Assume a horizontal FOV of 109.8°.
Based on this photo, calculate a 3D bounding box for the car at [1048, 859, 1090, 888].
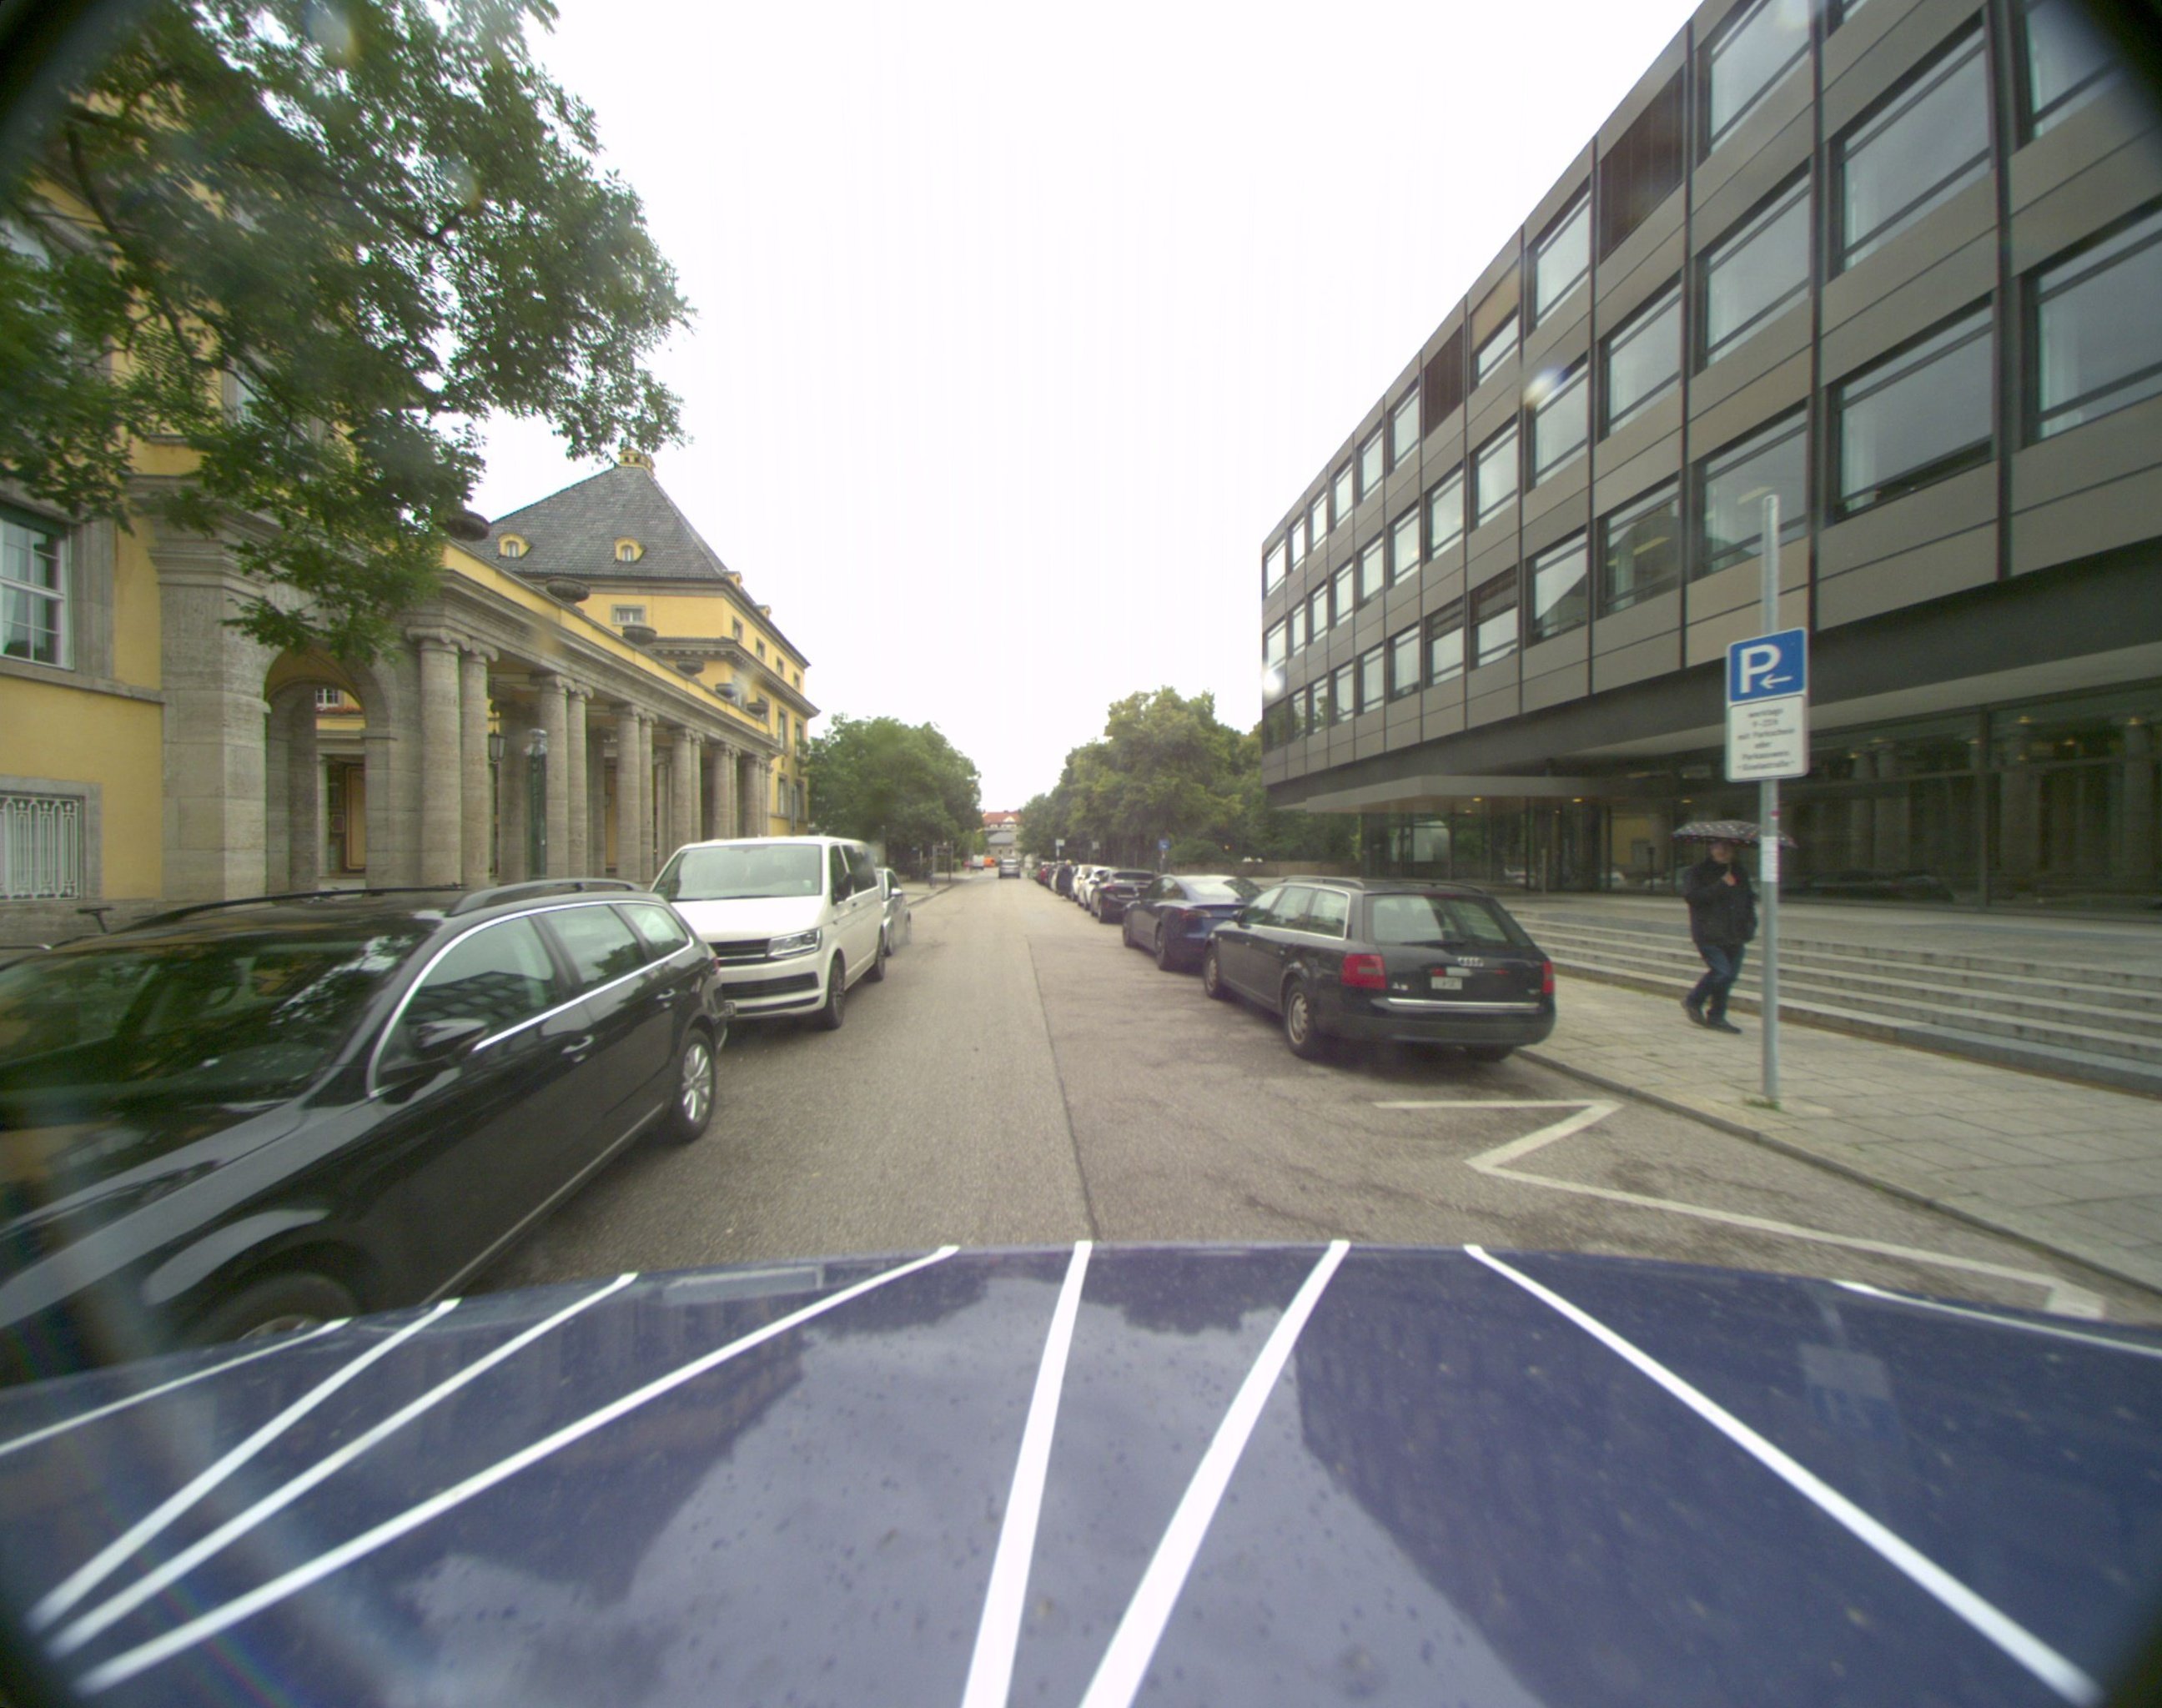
[{"bbox_3d":[-0.740,1.048,42.614,2.000,1.573,4.519,0,0,-6],"label":"car"}]

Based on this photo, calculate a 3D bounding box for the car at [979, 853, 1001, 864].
[{"bbox_3d":[-23.548,1.133,196.205,4.974,2.521,2.578,-2,1,38],"label":"car"}]

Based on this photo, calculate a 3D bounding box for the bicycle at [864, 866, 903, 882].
[{"bbox_3d":[-12.781,1.295,49.185,2.371,1.000,0.677,2,0,-14],"label":"bicycle"}]

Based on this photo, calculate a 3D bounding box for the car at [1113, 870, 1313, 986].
[{"bbox_3d":[1.923,1.077,12.806,1.929,1.431,4.914,1,0,-7],"label":"car"}]

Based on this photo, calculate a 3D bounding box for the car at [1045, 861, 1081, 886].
[{"bbox_3d":[-1.205,1.208,47.946,1.999,1.452,4.645,0,0,-5],"label":"car"}]

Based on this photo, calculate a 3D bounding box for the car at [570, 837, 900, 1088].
[{"bbox_3d":[-3.433,0.883,8.837,1.851,1.922,5.269,-3,0,-7],"label":"car"}]

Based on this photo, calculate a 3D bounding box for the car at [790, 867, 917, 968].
[{"bbox_3d":[-4.040,1.067,13.901,1.610,1.537,2.932,-3,0,-5],"label":"car"}]

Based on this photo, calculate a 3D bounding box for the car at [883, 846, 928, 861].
[{"bbox_3d":[-20.381,-0.086,88.193,4.911,1.672,1.965,0,0,-8],"label":"car"}]

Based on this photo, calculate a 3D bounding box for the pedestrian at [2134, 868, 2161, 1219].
[{"bbox_3d":[5.697,0.928,3.345,0.755,1.739,0.953,-3,0,1],"label":"pedestrian"}]

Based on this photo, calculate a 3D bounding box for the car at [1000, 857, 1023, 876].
[{"bbox_3d":[-6.480,1.133,71.484,2.030,1.679,4.675,0,0,-4],"label":"car"}]

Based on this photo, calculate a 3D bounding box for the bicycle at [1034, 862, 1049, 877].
[{"bbox_3d":[-3.445,1.346,66.245,0.574,1.275,1.421,-2,0,27],"label":"bicycle"}]

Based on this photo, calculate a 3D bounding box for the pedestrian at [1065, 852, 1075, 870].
[{"bbox_3d":[-1.106,0.728,75.913,0.798,1.722,0.660,-3,1,-7],"label":"pedestrian"}]

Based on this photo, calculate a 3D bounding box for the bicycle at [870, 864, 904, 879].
[{"bbox_3d":[-14.044,1.292,55.119,2.263,1.004,0.601,2,-1,-3],"label":"bicycle"}]

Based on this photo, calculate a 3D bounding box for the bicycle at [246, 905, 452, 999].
[{"bbox_3d":[-9.148,1.207,9.547,1.938,1.107,0.471,1,0,-8],"label":"bicycle"}]

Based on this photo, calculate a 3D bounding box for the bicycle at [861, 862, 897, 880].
[{"bbox_3d":[-13.851,1.163,52.058,2.266,1.053,0.601,5,0,-17],"label":"bicycle"}]

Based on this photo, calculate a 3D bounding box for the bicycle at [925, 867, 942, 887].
[{"bbox_3d":[-8.840,1.380,45.604,0.762,1.094,2.262,2,0,-6],"label":"bicycle"}]

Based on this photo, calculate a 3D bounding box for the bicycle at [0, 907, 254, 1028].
[{"bbox_3d":[-9.336,1.092,7.406,1.937,1.107,0.471,1,0,-3],"label":"bicycle"}]

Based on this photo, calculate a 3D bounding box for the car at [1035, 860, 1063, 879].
[{"bbox_3d":[-2.556,1.191,59.388,1.999,1.452,4.362,0,0,-5],"label":"car"}]

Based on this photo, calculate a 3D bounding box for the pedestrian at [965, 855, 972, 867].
[{"bbox_3d":[-16.944,1.054,114.447,0.778,1.855,0.996,-3,1,-14],"label":"pedestrian"}]

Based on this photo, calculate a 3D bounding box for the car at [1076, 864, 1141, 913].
[{"bbox_3d":[0.861,1.127,26.094,1.686,1.431,4.277,2,0,-5],"label":"car"}]

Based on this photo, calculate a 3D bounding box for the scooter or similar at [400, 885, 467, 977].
[{"bbox_3d":[-9.237,1.064,10.834,1.009,1.215,0.539,1,0,39],"label":"scooter or similar"}]

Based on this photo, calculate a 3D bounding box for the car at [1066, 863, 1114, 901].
[{"bbox_3d":[0.329,1.119,31.635,1.548,1.462,3.551,1,0,-6],"label":"car"}]

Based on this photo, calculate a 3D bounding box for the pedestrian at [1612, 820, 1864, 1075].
[{"bbox_3d":[5.741,0.756,6.743,1.139,2.042,1.220,1,0,-6],"label":"pedestrian"}]

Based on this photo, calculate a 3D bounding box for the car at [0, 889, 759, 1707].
[{"bbox_3d":[-2.893,1.020,2.883,1.777,1.481,4.970,-3,0,-8],"label":"car"}]

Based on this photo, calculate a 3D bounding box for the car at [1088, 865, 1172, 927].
[{"bbox_3d":[1.245,1.075,21.073,1.745,1.452,4.235,2,0,-4],"label":"car"}]

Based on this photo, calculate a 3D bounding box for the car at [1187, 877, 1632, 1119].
[{"bbox_3d":[2.593,1.051,7.587,1.999,1.482,4.881,1,0,-5],"label":"car"}]

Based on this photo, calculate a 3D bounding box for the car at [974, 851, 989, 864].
[{"bbox_3d":[-17.467,0.597,133.666,2.237,2.289,4.726,-3,1,-11],"label":"car"}]

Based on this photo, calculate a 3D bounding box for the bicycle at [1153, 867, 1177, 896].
[{"bbox_3d":[3.599,1.160,32.511,0.645,1.157,1.526,-3,0,-7],"label":"bicycle"}]

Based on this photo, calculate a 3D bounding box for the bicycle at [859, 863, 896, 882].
[{"bbox_3d":[-13.533,1.248,50.454,2.266,1.088,0.601,5,0,-17],"label":"bicycle"}]

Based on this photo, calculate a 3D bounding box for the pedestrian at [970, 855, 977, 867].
[{"bbox_3d":[-16.190,1.048,114.485,0.777,1.855,0.996,-3,1,-12],"label":"pedestrian"}]

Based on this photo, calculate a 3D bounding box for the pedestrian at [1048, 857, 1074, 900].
[{"bbox_3d":[-0.813,0.999,31.084,0.893,1.741,0.689,2,0,-14],"label":"pedestrian"}]

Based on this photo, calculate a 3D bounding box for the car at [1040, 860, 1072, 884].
[{"bbox_3d":[-1.768,1.215,52.925,1.999,1.535,4.362,0,0,-5],"label":"car"}]
